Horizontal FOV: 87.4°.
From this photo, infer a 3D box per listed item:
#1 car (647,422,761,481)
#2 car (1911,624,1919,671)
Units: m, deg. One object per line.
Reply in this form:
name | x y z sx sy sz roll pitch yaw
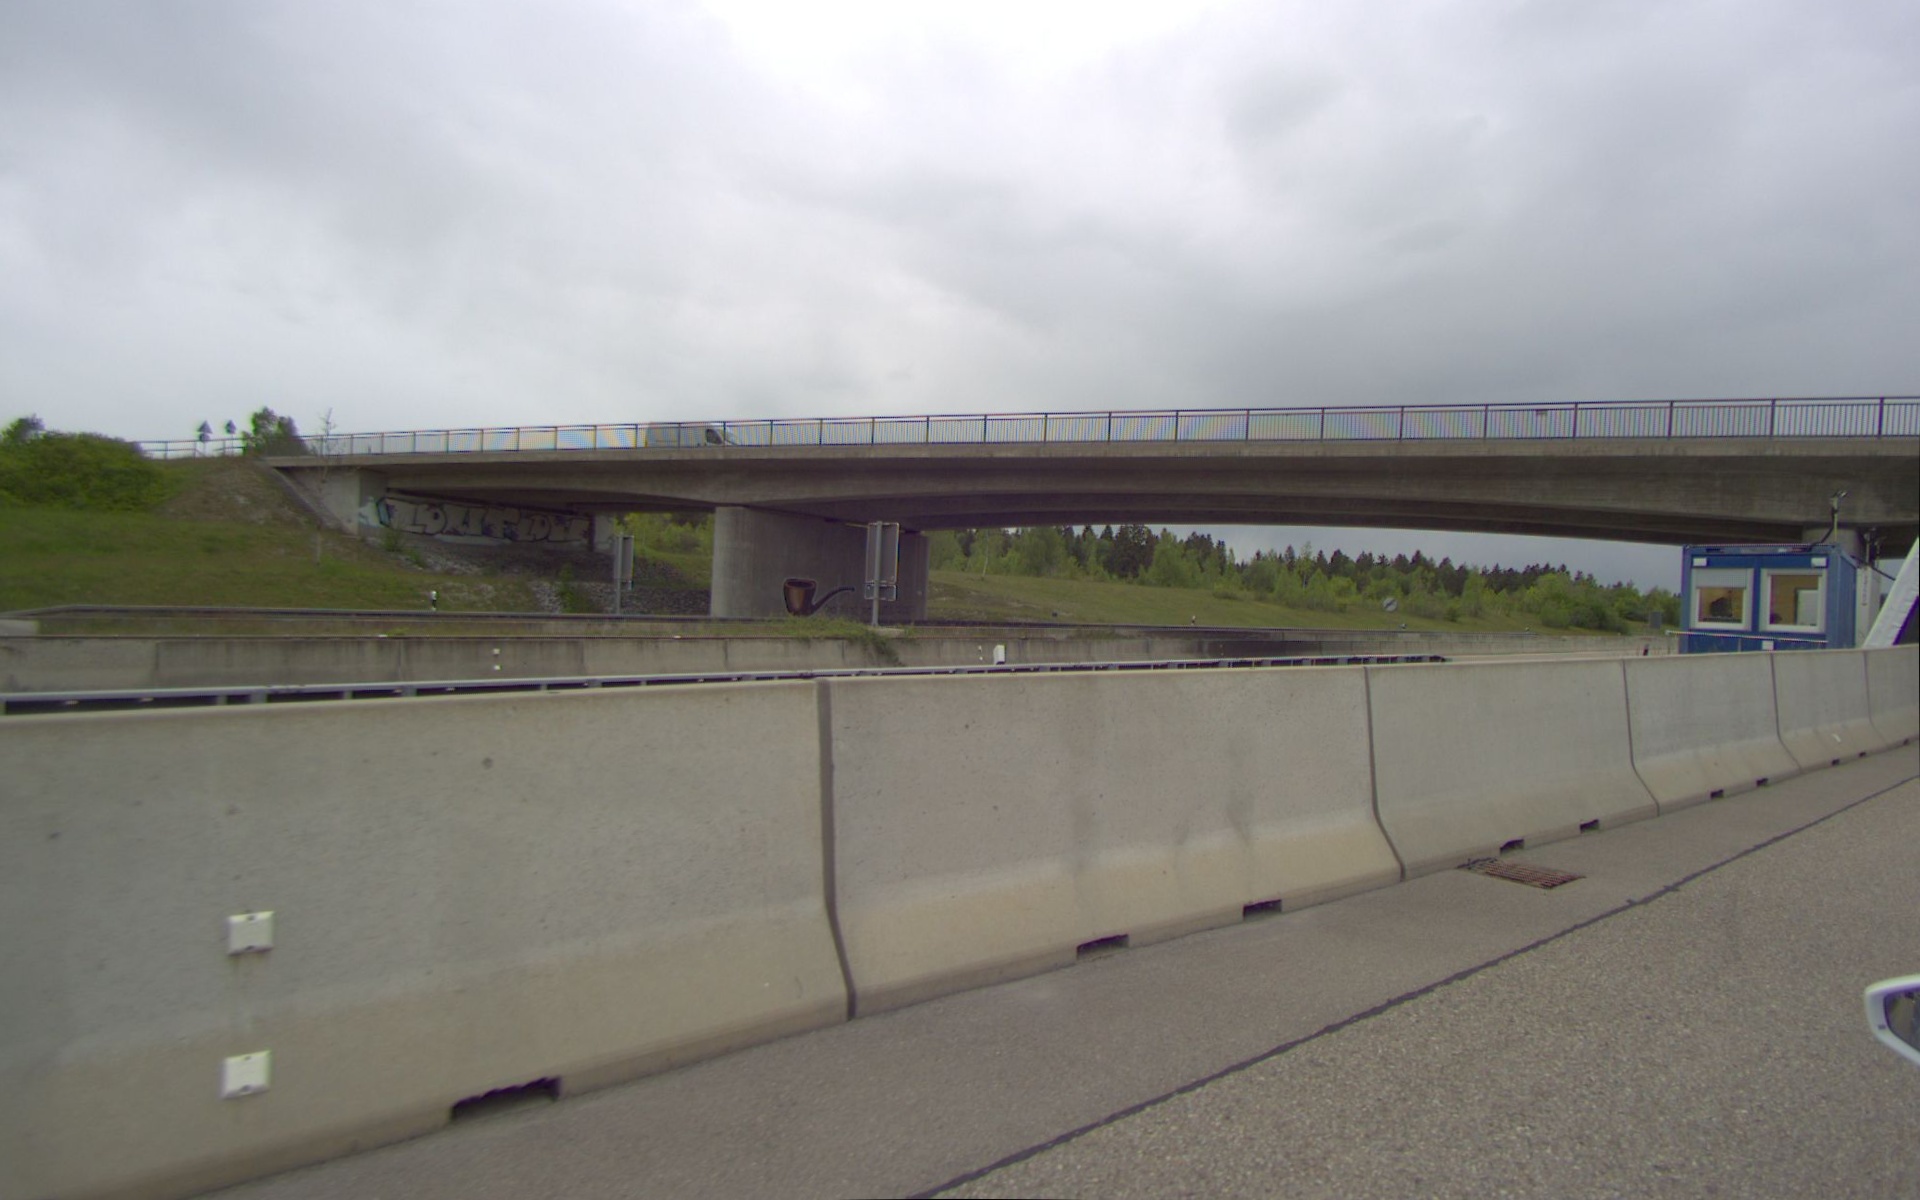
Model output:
car | -13.128 -7.562 51.499 5.643 2.281 1.999 -1 -2 24
car | 39.932 1.924 39.037 1.686 1.878 3.976 2 -1 -24
